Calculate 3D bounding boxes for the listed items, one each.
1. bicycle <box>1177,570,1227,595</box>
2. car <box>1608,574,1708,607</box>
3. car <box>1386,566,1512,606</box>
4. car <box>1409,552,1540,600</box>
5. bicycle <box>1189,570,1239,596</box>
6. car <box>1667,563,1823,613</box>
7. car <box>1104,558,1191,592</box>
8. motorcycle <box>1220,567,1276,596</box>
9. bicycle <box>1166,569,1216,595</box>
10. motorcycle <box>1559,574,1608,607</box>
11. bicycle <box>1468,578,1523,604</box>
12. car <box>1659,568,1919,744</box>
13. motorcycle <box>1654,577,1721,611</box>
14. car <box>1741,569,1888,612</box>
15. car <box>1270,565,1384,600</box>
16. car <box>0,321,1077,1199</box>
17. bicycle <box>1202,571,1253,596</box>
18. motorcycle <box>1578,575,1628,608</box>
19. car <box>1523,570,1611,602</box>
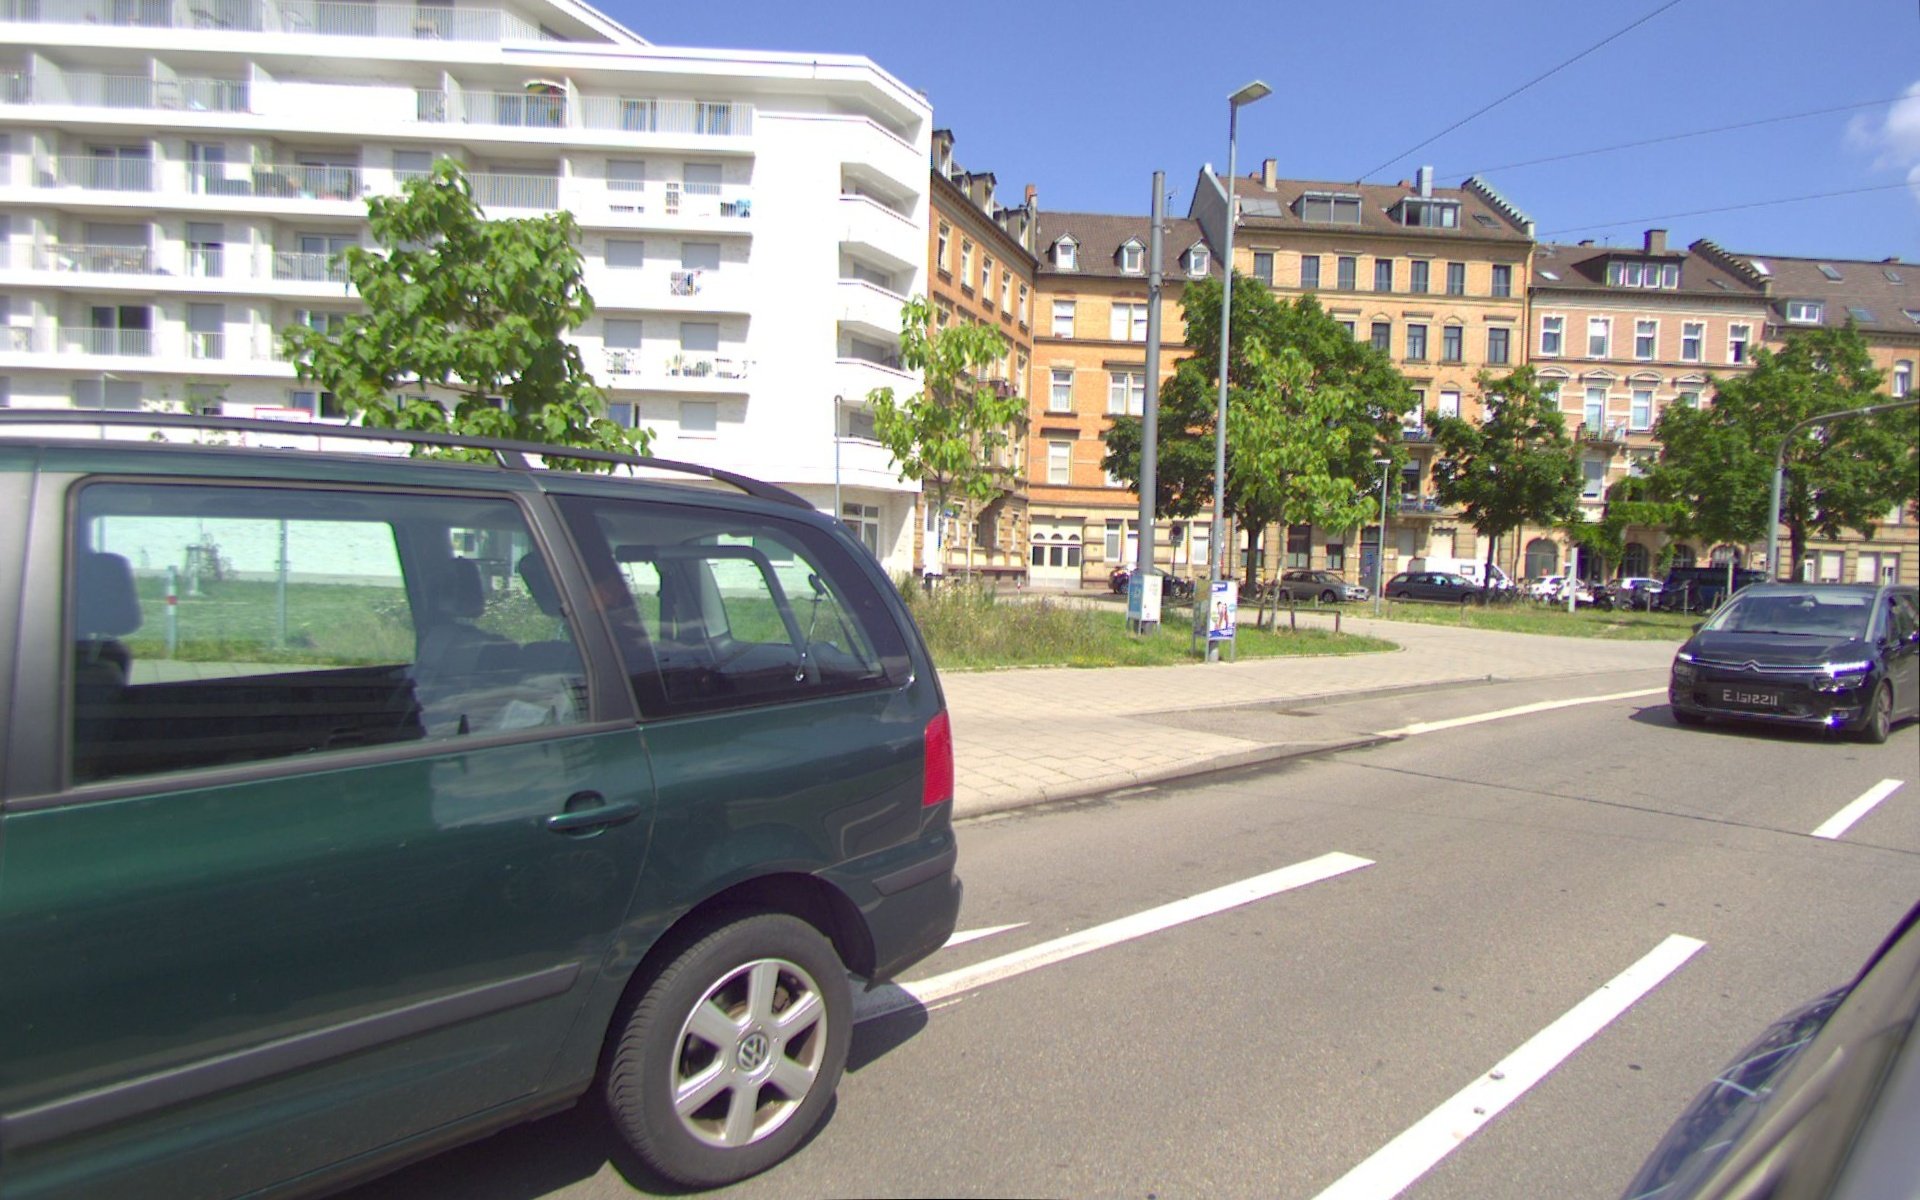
[{"bbox_3d":[9.632,-0.706,40.331,0.532,0.981,2.396,1,1,-25],"label":"bicycle"},{"bbox_3d":[34.457,-0.476,50.026,3.779,1.510,1.665,1,1,-1],"label":"car"},{"bbox_3d":[19.699,-0.602,40.957,1.769,1.445,4.265,1,2,-31],"label":"car"},{"bbox_3d":[25.053,-1.170,49.399,5.290,2.206,2.118,1,1,-1],"label":"car"},{"bbox_3d":[10.154,-0.698,40.572,0.532,0.981,2.396,1,1,-25],"label":"bicycle"},{"bbox_3d":[31.980,-0.515,41.375,1.879,1.951,4.633,1,1,-32],"label":"car"},{"bbox_3d":[9.001,-1.201,48.787,3.779,1.510,1.665,1,1,-1],"label":"car"},{"bbox_3d":[11.695,-0.757,41.195,0.796,1.139,2.396,1,1,-25],"label":"motorcycle"},{"bbox_3d":[9.130,-0.712,40.081,0.532,0.981,2.396,1,1,-25],"label":"bicycle"},{"bbox_3d":[23.656,-0.361,38.413,0.627,1.181,1.791,1,2,-3],"label":"motorcycle"},{"bbox_3d":[19.884,-0.346,37.574,1.784,0.912,0.544,1,1,-5],"label":"bicycle"},{"bbox_3d":[9.817,0.503,11.473,4.111,1.639,1.876,0,2,-37],"label":"car"},{"bbox_3d":[27.147,-0.227,37.798,1.876,1.181,0.638,2,2,11],"label":"motorcycle"},{"bbox_3d":[34.956,-0.424,41.507,1.878,1.677,4.181,1,1,-28],"label":"car"},{"bbox_3d":[14.495,-0.712,40.198,1.825,1.260,4.172,1,1,-26],"label":"car"},{"bbox_3d":[-2.093,0.448,2.171,4.944,1.778,1.822,0,1,-42],"label":"car"},{"bbox_3d":[10.773,-0.683,40.860,0.532,0.968,2.396,1,1,-25],"label":"bicycle"},{"bbox_3d":[24.417,-0.324,38.442,0.627,1.181,1.791,1,2,-3],"label":"motorcycle"},{"bbox_3d":[29.832,-0.699,49.773,3.287,1.420,1.569,2,2,1],"label":"car"}]
